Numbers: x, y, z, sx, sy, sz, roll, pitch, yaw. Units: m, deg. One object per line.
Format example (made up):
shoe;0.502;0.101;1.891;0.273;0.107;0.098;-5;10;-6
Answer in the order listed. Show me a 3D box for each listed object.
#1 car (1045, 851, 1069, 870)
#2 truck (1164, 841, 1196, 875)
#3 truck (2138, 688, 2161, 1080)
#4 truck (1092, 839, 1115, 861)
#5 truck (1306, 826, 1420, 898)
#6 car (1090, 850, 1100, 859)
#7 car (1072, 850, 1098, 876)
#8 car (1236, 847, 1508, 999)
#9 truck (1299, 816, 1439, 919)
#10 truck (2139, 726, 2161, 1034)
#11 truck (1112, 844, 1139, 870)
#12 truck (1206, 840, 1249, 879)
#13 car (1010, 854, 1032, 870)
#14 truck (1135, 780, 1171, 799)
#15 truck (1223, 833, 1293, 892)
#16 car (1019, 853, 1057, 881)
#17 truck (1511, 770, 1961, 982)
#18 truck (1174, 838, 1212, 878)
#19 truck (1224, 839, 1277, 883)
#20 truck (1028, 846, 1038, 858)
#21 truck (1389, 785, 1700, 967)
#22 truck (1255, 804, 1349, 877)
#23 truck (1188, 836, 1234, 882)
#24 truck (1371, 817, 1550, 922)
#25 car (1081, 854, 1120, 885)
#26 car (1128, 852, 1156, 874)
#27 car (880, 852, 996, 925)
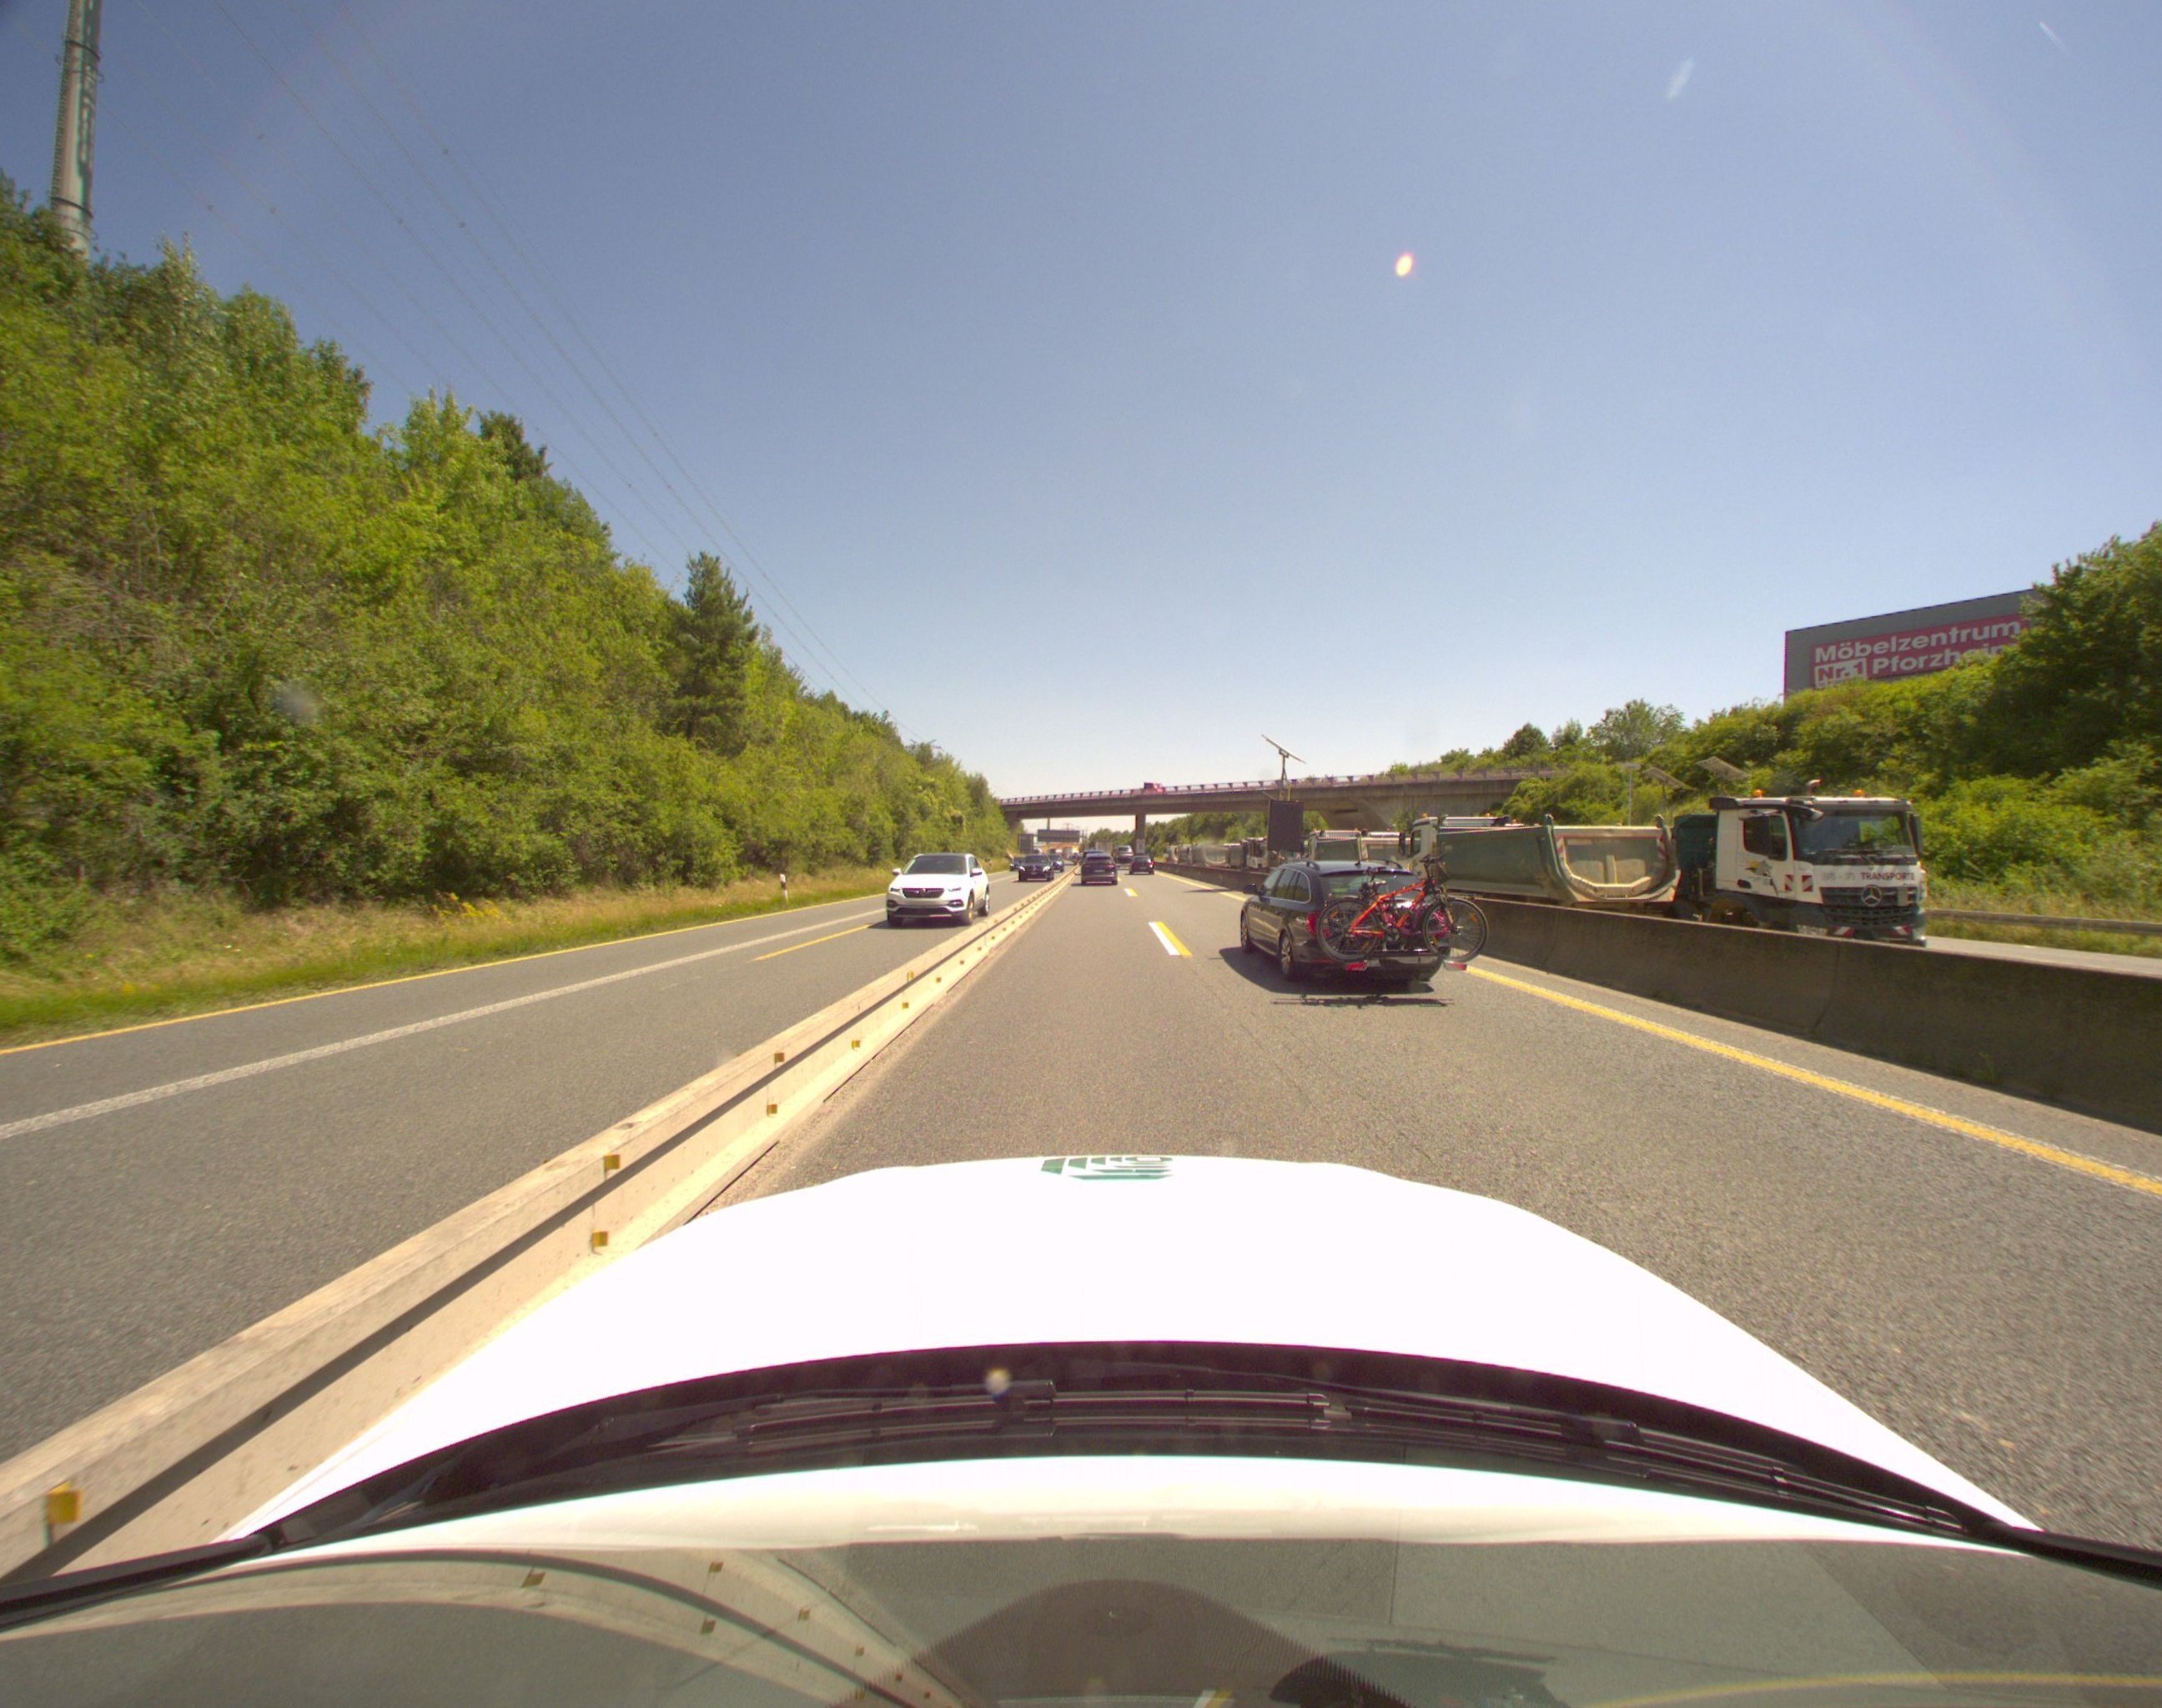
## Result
car;-2.081;0.519;72.654;1.837;1.610;4.700;1;0;1
truck;11.592;0.483;96.075;2.678;3.843;9.325;0;0;1
truck;10.968;0.267;2.730;2.529;3.557;9.604;0;0;1
truck;4.074;-0.742;148.683;3.286;3.845;10.096;0;0;-4
truck;14.524;0.382;42.878;2.678;3.378;9.601;0;0;0
car;3.141;0.027;183.669;1.897;1.968;4.267;0;0;-6
car;0.331;0.703;63.327;1.892;1.968;4.278;0;0;2
car;3.344;0.700;10.519;1.892;1.490;4.949;0;0;2
truck;11.311;0.472;33.179;2.677;3.557;9.410;0;0;2
truck;13.692;0.292;4.774;2.677;3.557;9.605;0;0;1
truck;4.527;0.258;83.304;2.398;2.558;7.499;0;0;0
truck;14.605;0.501;81.630;2.678;3.727;9.325;0;0;0
car;-5.932;0.736;80.732;1.717;1.522;4.186;-1;0;2
truck;10.024;-8.948;113.352;1.945;2.066;5.456;0;-1;-35
truck;11.593;0.506;54.163;2.678;3.557;9.325;0;0;0
car;-2.508;0.748;48.294;1.837;1.533;4.672;1;0;1
truck;13.569;0.362;18.528;2.677;3.557;9.604;0;0;1
truck;11.436;0.382;83.769;2.678;3.856;9.325;0;0;1
truck;14.510;0.549;70.447;2.678;3.557;9.325;0;0;0
truck;-13.070;-0.573;221.920;2.503;3.186;10.096;0;0;-4
truck;10.916;0.428;20.809;2.677;3.557;9.605;0;0;1
truck;11.849;-0.648;44.623;2.678;3.557;9.325;0;0;0
truck;11.352;0.397;72.175;2.678;3.761;9.325;0;0;1
truck;13.985;0.491;31.119;2.677;3.378;9.607;0;0;2
car;1.009;0.756;41.777;1.892;1.505;4.278;0;0;2
car;4.630;0.653;62.260;1.892;1.585;4.278;0;0;2
car;-3.256;0.725;19.500;1.837;1.533;4.672;0;0;1
